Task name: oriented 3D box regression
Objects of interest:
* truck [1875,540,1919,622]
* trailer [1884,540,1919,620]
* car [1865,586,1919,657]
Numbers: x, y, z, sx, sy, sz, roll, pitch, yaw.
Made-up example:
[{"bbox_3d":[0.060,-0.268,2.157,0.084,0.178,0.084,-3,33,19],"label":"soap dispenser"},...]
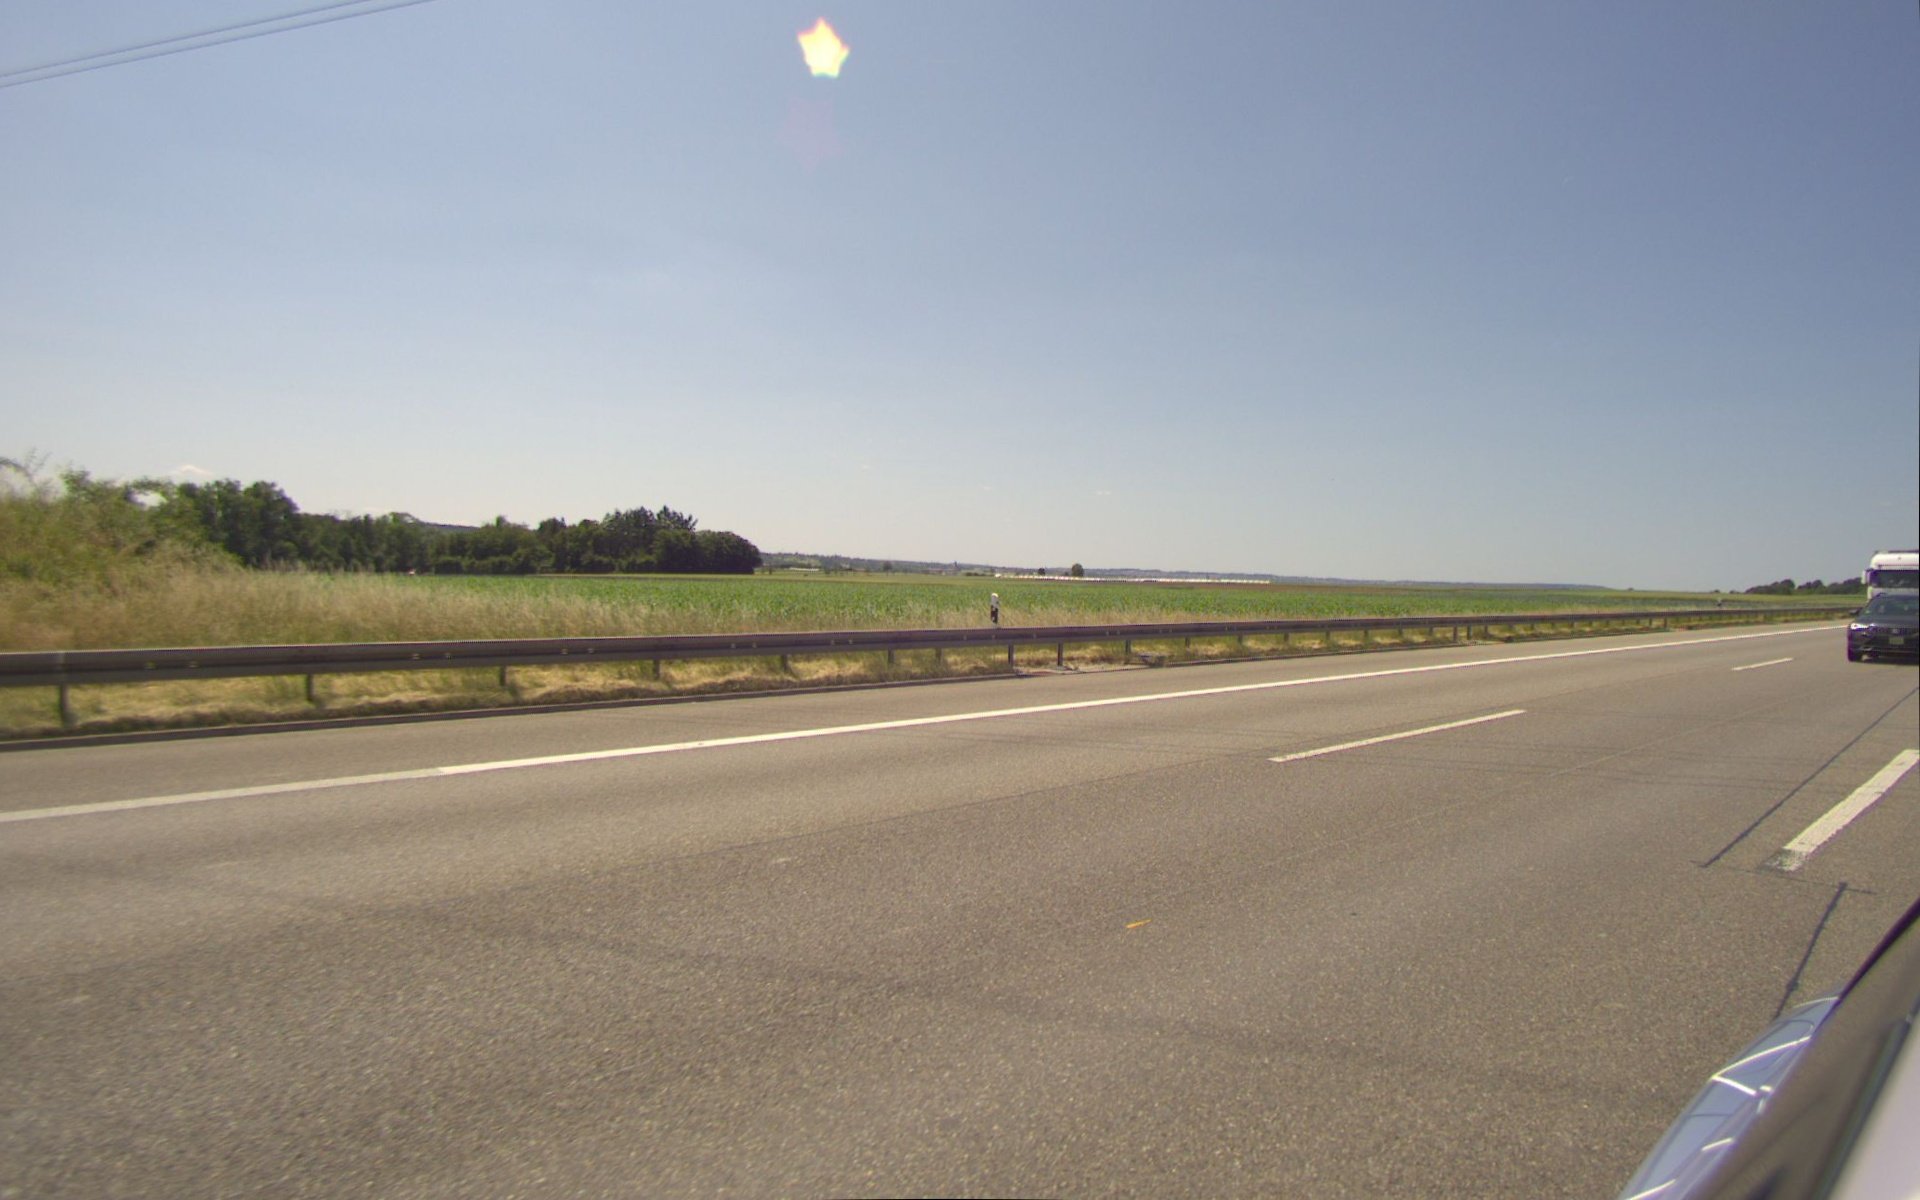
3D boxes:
[{"bbox_3d":[50.768,-0.984,53.535,6.761,4.143,2.866,0,0,-42],"label":"truck"},{"bbox_3d":[56.120,-1.123,58.339,13.064,4.273,2.872,0,0,-42],"label":"trailer"},{"bbox_3d":[22.580,0.460,23.724,3.760,1.581,1.798,0,0,-44],"label":"car"}]
